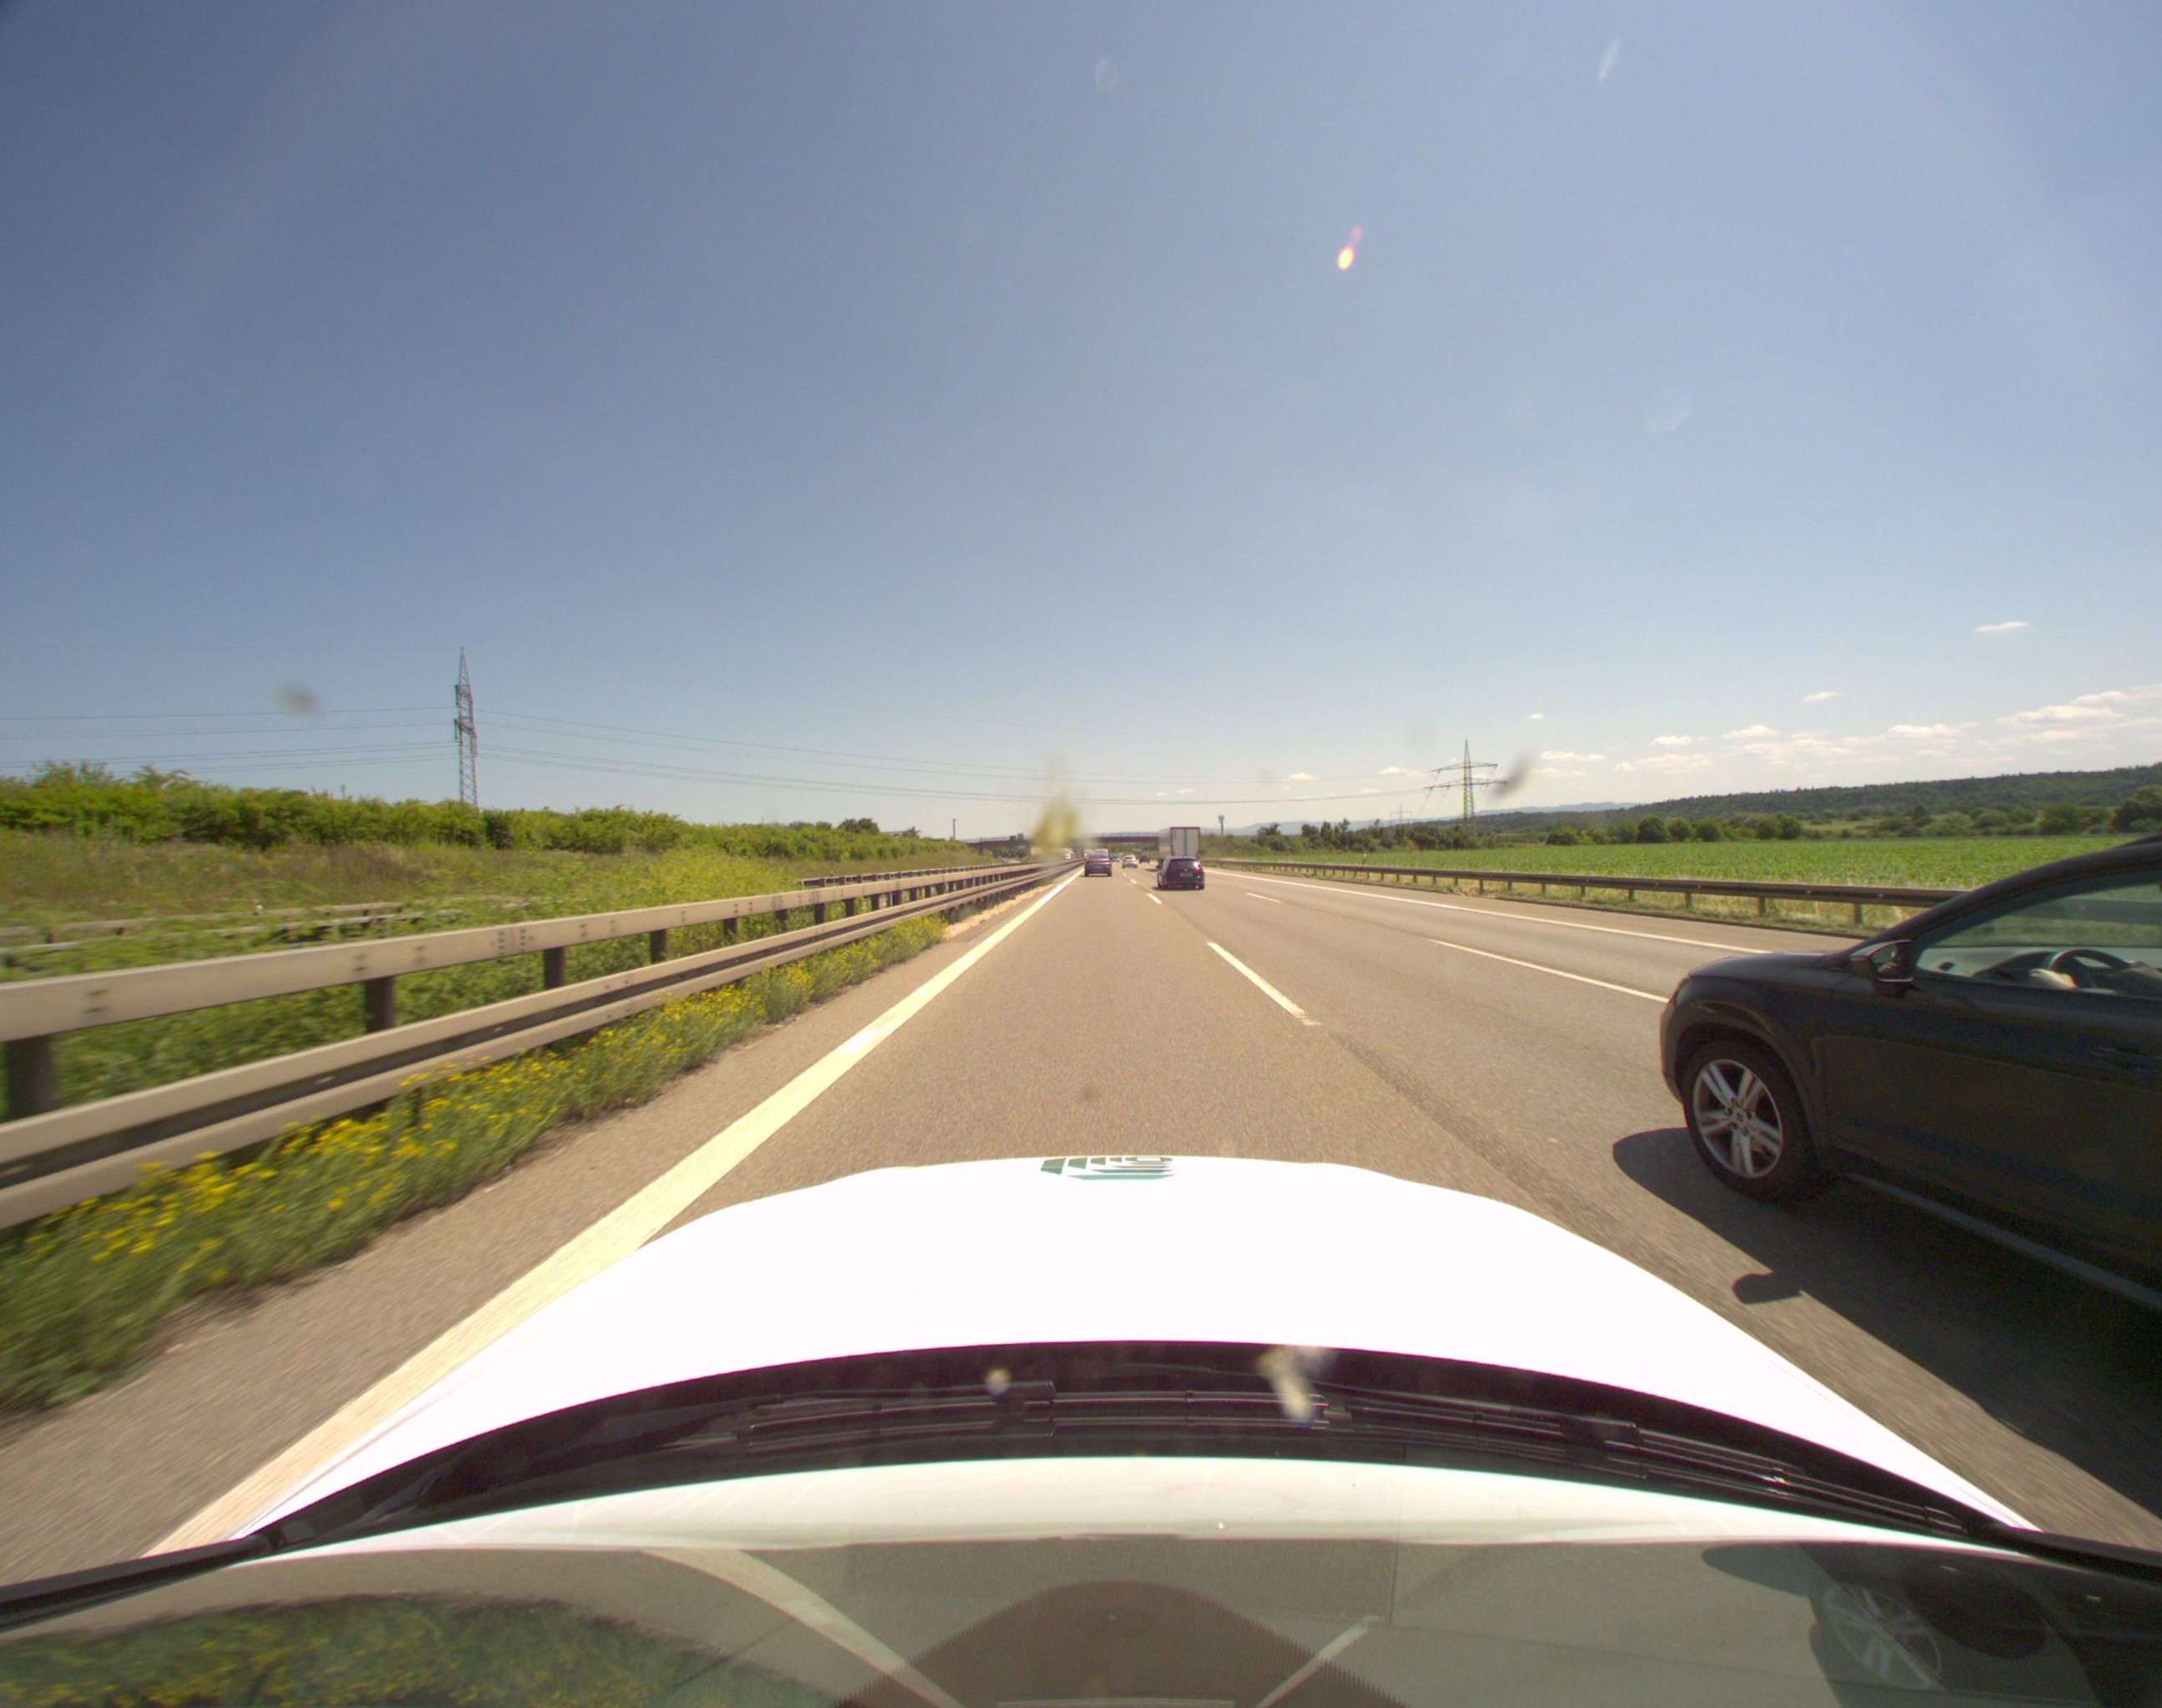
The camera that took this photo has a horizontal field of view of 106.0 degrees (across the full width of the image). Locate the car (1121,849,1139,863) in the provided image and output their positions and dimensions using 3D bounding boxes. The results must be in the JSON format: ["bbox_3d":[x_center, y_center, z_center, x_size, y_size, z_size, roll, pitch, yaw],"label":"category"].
[{"bbox_3d":[5.912,0.243,98.626,1.986,1.683,4.001,0,0,2],"label":"car"}]

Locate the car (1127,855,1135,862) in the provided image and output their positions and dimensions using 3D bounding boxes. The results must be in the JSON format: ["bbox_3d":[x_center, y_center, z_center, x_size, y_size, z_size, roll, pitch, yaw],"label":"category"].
[{"bbox_3d":[12.754,1.199,207.781,1.986,1.683,4.001,0,0,2],"label":"car"}]

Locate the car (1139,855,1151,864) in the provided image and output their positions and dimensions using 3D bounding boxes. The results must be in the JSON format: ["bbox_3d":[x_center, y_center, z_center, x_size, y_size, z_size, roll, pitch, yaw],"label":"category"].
[{"bbox_3d":[11.865,0.994,151.914,1.986,1.683,4.001,0,0,2],"label":"car"}]

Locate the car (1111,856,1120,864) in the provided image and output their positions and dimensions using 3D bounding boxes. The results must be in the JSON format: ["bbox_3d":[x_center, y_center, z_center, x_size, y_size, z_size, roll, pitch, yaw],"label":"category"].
[{"bbox_3d":[7.984,1.420,186.266,1.986,1.683,4.001,0,0,2],"label":"car"}]

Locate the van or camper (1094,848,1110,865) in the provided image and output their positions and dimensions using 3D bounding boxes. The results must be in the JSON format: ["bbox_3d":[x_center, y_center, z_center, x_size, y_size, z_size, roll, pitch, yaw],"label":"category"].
[{"bbox_3d":[2.834,0.328,109.902,2.103,2.211,5.267,0,0,2],"label":"van or camper"}]

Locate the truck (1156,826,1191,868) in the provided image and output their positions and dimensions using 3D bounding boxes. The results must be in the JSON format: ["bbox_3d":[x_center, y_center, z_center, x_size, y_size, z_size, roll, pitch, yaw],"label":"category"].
[{"bbox_3d":[9.621,-0.697,85.554,2.968,4.227,7.690,0,0,2],"label":"truck"}]

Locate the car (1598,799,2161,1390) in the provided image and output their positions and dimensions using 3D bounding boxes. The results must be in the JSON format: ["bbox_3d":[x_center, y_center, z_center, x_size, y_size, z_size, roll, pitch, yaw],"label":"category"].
[{"bbox_3d":[3.759,0.629,2.650,1.790,1.562,3.824,0,0,1],"label":"car"}]

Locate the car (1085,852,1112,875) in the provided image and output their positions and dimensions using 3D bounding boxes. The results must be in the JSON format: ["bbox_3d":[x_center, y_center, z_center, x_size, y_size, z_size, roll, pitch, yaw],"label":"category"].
[{"bbox_3d":[1.260,0.681,59.498,1.846,1.664,3.733,0,0,-1],"label":"car"}]

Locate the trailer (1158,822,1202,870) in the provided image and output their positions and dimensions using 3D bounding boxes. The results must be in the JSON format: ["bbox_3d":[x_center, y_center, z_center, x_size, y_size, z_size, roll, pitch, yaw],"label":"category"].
[{"bbox_3d":[9.366,-0.678,78.261,2.932,4.198,13.601,0,0,2],"label":"trailer"}]

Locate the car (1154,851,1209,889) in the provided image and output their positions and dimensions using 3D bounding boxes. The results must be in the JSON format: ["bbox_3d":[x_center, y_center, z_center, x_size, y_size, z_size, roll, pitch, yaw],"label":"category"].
[{"bbox_3d":[4.380,0.672,36.195,1.926,1.574,4.935,0,0,1],"label":"car"}]
